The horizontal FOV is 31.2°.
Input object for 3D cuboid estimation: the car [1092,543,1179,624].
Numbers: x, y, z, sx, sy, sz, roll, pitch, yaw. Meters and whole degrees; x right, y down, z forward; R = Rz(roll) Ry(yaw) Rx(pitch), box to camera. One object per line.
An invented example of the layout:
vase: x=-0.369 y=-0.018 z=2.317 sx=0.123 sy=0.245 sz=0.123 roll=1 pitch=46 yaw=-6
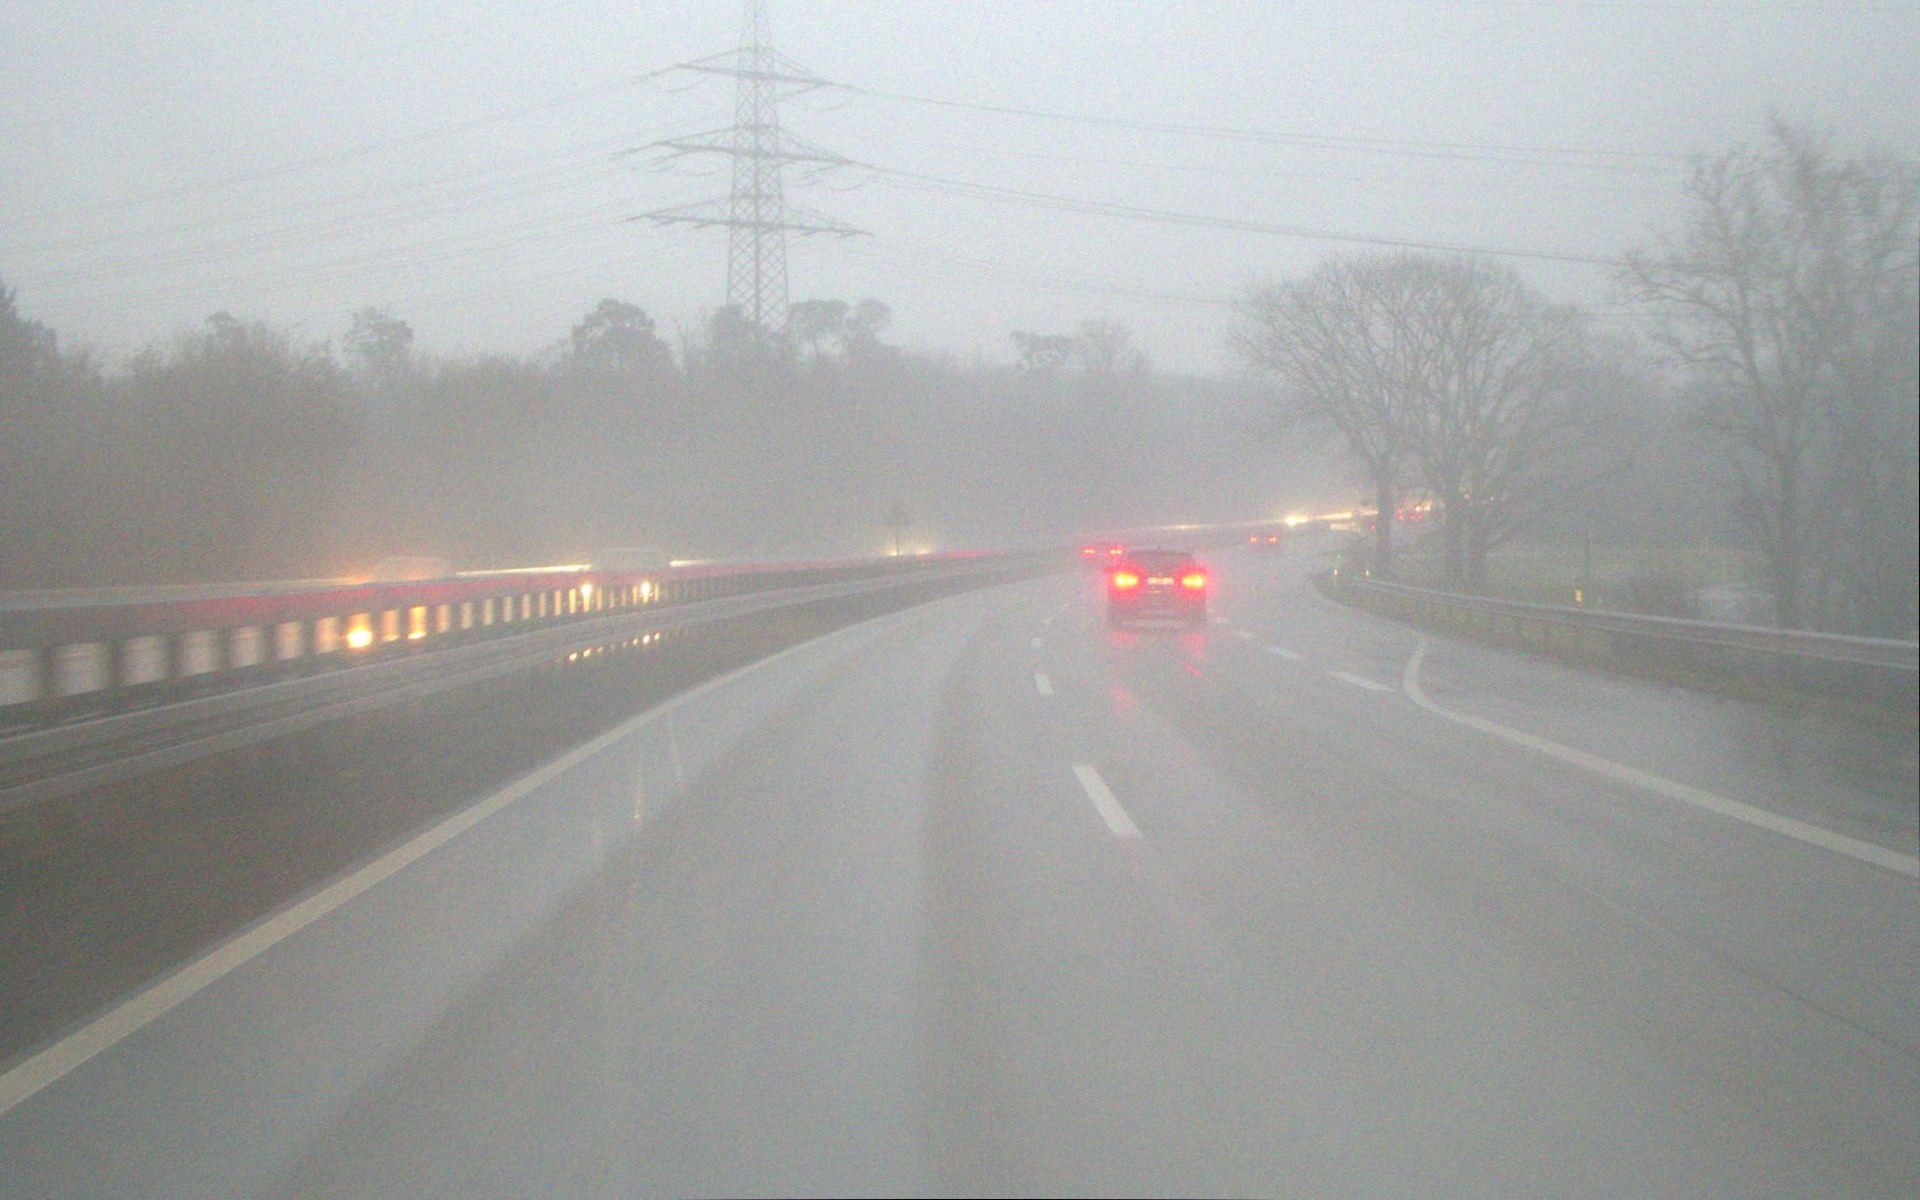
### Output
car: x=3.542 y=-0.355 z=69.030 sx=1.678 sy=1.503 sz=3.809 roll=0 pitch=2 yaw=3
